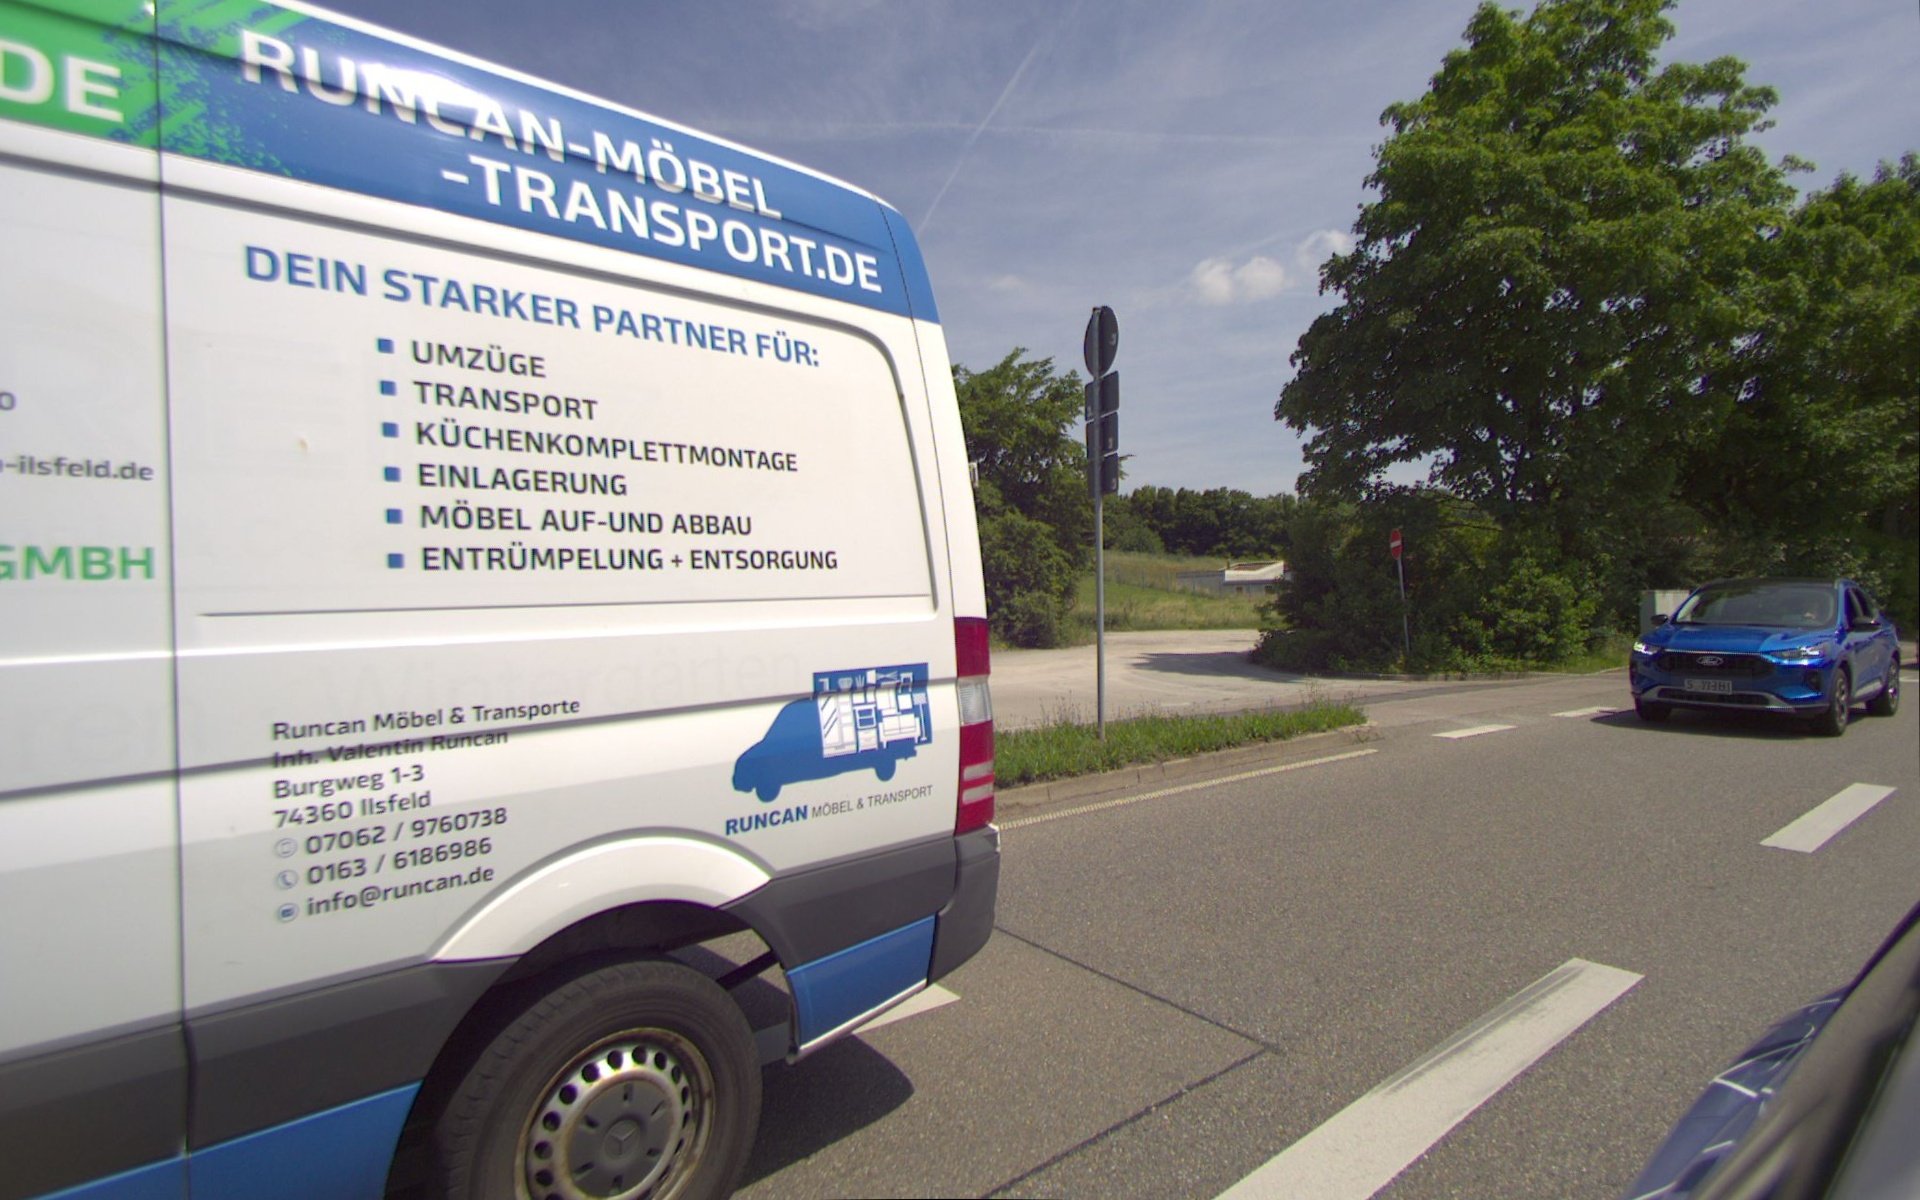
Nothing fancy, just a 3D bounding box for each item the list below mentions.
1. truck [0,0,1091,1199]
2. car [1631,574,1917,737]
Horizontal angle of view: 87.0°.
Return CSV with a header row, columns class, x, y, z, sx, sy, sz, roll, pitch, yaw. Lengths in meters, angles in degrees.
class,x,y,z,sx,sy,sz,roll,pitch,yaw
truck,-2.493,-0.009,1.803,5.839,2.772,2.070,-1,0,-41
car,9.660,0.499,11.894,4.309,1.578,1.782,-1,1,-39
